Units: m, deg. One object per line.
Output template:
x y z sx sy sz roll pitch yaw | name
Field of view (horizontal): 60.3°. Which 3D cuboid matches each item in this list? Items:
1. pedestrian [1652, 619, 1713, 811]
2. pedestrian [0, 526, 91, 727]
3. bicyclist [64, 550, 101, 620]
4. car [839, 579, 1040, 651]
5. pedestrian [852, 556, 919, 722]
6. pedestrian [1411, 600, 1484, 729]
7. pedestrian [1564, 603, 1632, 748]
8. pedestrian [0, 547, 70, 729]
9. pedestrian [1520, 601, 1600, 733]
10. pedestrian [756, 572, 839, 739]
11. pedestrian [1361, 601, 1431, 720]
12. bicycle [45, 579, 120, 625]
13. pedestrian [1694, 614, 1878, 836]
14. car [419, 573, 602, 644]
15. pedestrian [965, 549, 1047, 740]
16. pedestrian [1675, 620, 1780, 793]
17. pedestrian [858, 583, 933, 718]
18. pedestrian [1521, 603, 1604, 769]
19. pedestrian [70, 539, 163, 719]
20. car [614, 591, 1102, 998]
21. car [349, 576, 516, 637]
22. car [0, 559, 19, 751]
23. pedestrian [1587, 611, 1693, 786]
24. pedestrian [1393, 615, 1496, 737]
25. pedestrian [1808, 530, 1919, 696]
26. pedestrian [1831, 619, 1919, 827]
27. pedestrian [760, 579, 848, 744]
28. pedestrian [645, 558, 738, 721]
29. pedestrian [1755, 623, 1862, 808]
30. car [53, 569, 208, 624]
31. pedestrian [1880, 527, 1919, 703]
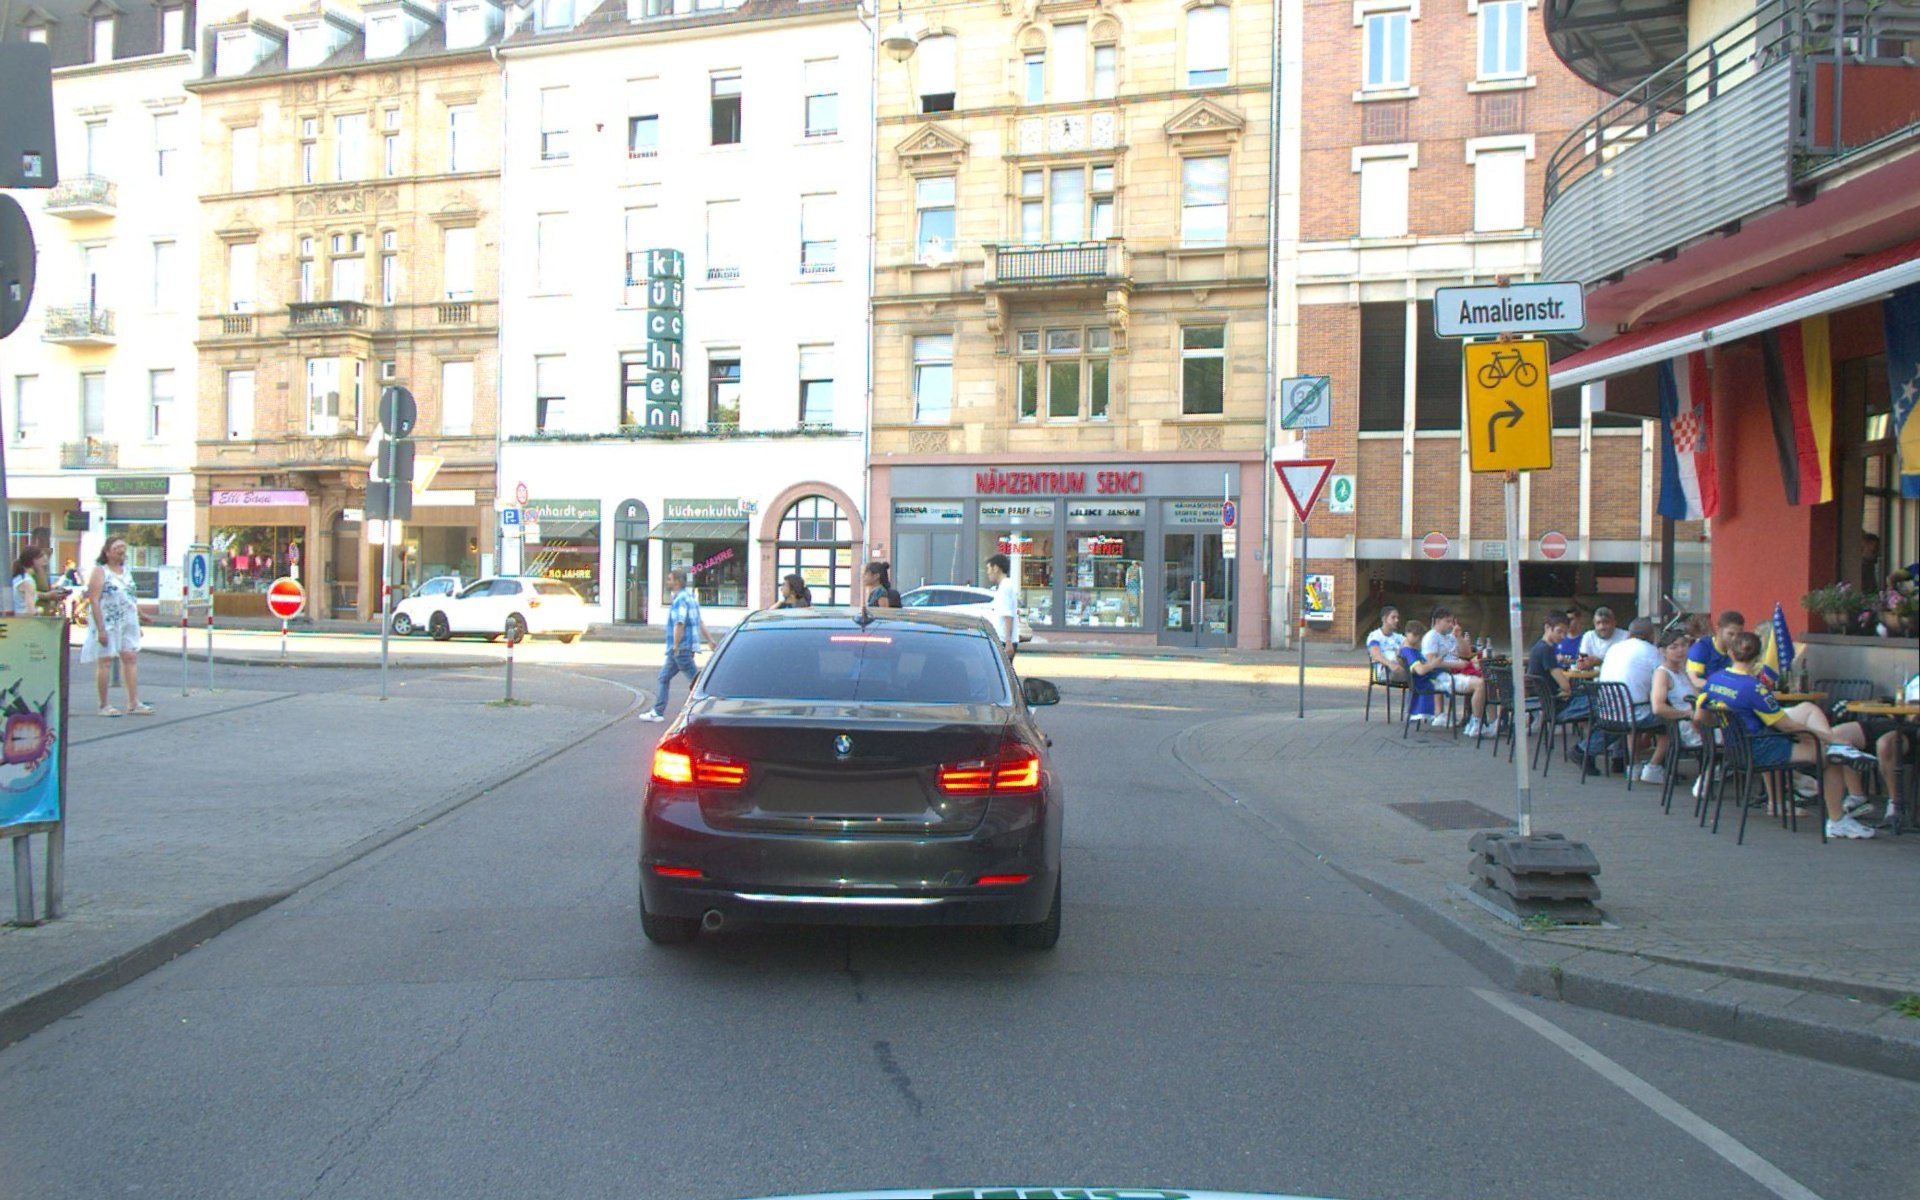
4.959 0.780 11.357 0.336 1.279 0.360 -2 0 22 | pedestrian
-8.938 0.249 16.123 0.571 1.915 0.634 0 0 3 | pedestrian
-22.769 -0.387 42.914 0.604 1.787 0.526 1 0 13 | bicyclist
-0.466 0.339 38.347 4.261 1.589 1.869 0 0 20 | car
-0.805 0.412 18.040 0.653 1.776 0.607 0 0 3 | pedestrian
5.053 0.656 17.179 0.604 1.306 0.660 0 0 5 | pedestrian
5.848 0.678 15.169 0.479 1.299 0.522 0 0 10 | pedestrian
-8.665 0.344 15.390 0.490 1.672 0.520 0 0 -1 | pedestrian
6.153 0.666 16.957 0.606 1.301 0.699 1 1 35 | pedestrian
-1.649 0.549 16.705 0.711 1.637 0.648 2 0 -12 | pedestrian
4.838 0.661 18.385 0.604 1.276 0.736 0 0 3 | pedestrian
-22.770 0.052 42.916 1.756 1.127 0.538 2 0 13 | bicycle
5.037 0.745 10.107 0.841 1.279 0.491 -2 0 -3 | pedestrian
-10.068 0.157 36.991 3.918 1.498 1.878 1 1 34 | car
0.481 0.445 17.035 0.684 1.910 0.679 1 0 13 | pedestrian
5.652 0.771 12.178 0.415 1.222 0.560 -2 0 -44 | pedestrian
-0.721 0.556 18.687 0.798 1.500 0.607 0 0 1 | pedestrian
4.948 0.697 13.595 0.481 1.326 0.418 -2 0 -3 | pedestrian
-8.554 0.279 16.768 0.662 1.776 0.653 1 1 43 | pedestrian
-0.454 0.699 8.392 1.729 1.399 4.788 2 1 -2 | car
-13.886 0.161 43.548 3.904 1.537 1.800 0 0 20 | car
-9.443 0.434 12.206 3.915 1.527 1.886 0 1 -11 | car
5.311 0.752 12.910 0.622 1.298 0.504 -2 0 -40 | pedestrian
4.814 0.743 16.475 0.871 1.170 0.619 0 0 4 | pedestrian
9.138 0.127 16.722 0.705 1.635 0.681 2 0 -29 | pedestrian
6.180 0.762 10.602 0.763 1.244 0.714 -2 0 -3 | pedestrian
-1.520 0.586 16.044 0.722 1.540 0.648 2 0 -12 | pedestrian
-2.996 0.429 18.494 0.876 1.755 0.608 2 2 4 | pedestrian
5.861 0.781 11.430 0.528 1.222 0.415 -2 0 45 | pedestrian
-24.017 -0.092 47.902 3.904 1.537 1.800 0 0 20 | car
9.140 0.142 15.576 0.524 1.635 0.605 2 0 -24 | pedestrian
